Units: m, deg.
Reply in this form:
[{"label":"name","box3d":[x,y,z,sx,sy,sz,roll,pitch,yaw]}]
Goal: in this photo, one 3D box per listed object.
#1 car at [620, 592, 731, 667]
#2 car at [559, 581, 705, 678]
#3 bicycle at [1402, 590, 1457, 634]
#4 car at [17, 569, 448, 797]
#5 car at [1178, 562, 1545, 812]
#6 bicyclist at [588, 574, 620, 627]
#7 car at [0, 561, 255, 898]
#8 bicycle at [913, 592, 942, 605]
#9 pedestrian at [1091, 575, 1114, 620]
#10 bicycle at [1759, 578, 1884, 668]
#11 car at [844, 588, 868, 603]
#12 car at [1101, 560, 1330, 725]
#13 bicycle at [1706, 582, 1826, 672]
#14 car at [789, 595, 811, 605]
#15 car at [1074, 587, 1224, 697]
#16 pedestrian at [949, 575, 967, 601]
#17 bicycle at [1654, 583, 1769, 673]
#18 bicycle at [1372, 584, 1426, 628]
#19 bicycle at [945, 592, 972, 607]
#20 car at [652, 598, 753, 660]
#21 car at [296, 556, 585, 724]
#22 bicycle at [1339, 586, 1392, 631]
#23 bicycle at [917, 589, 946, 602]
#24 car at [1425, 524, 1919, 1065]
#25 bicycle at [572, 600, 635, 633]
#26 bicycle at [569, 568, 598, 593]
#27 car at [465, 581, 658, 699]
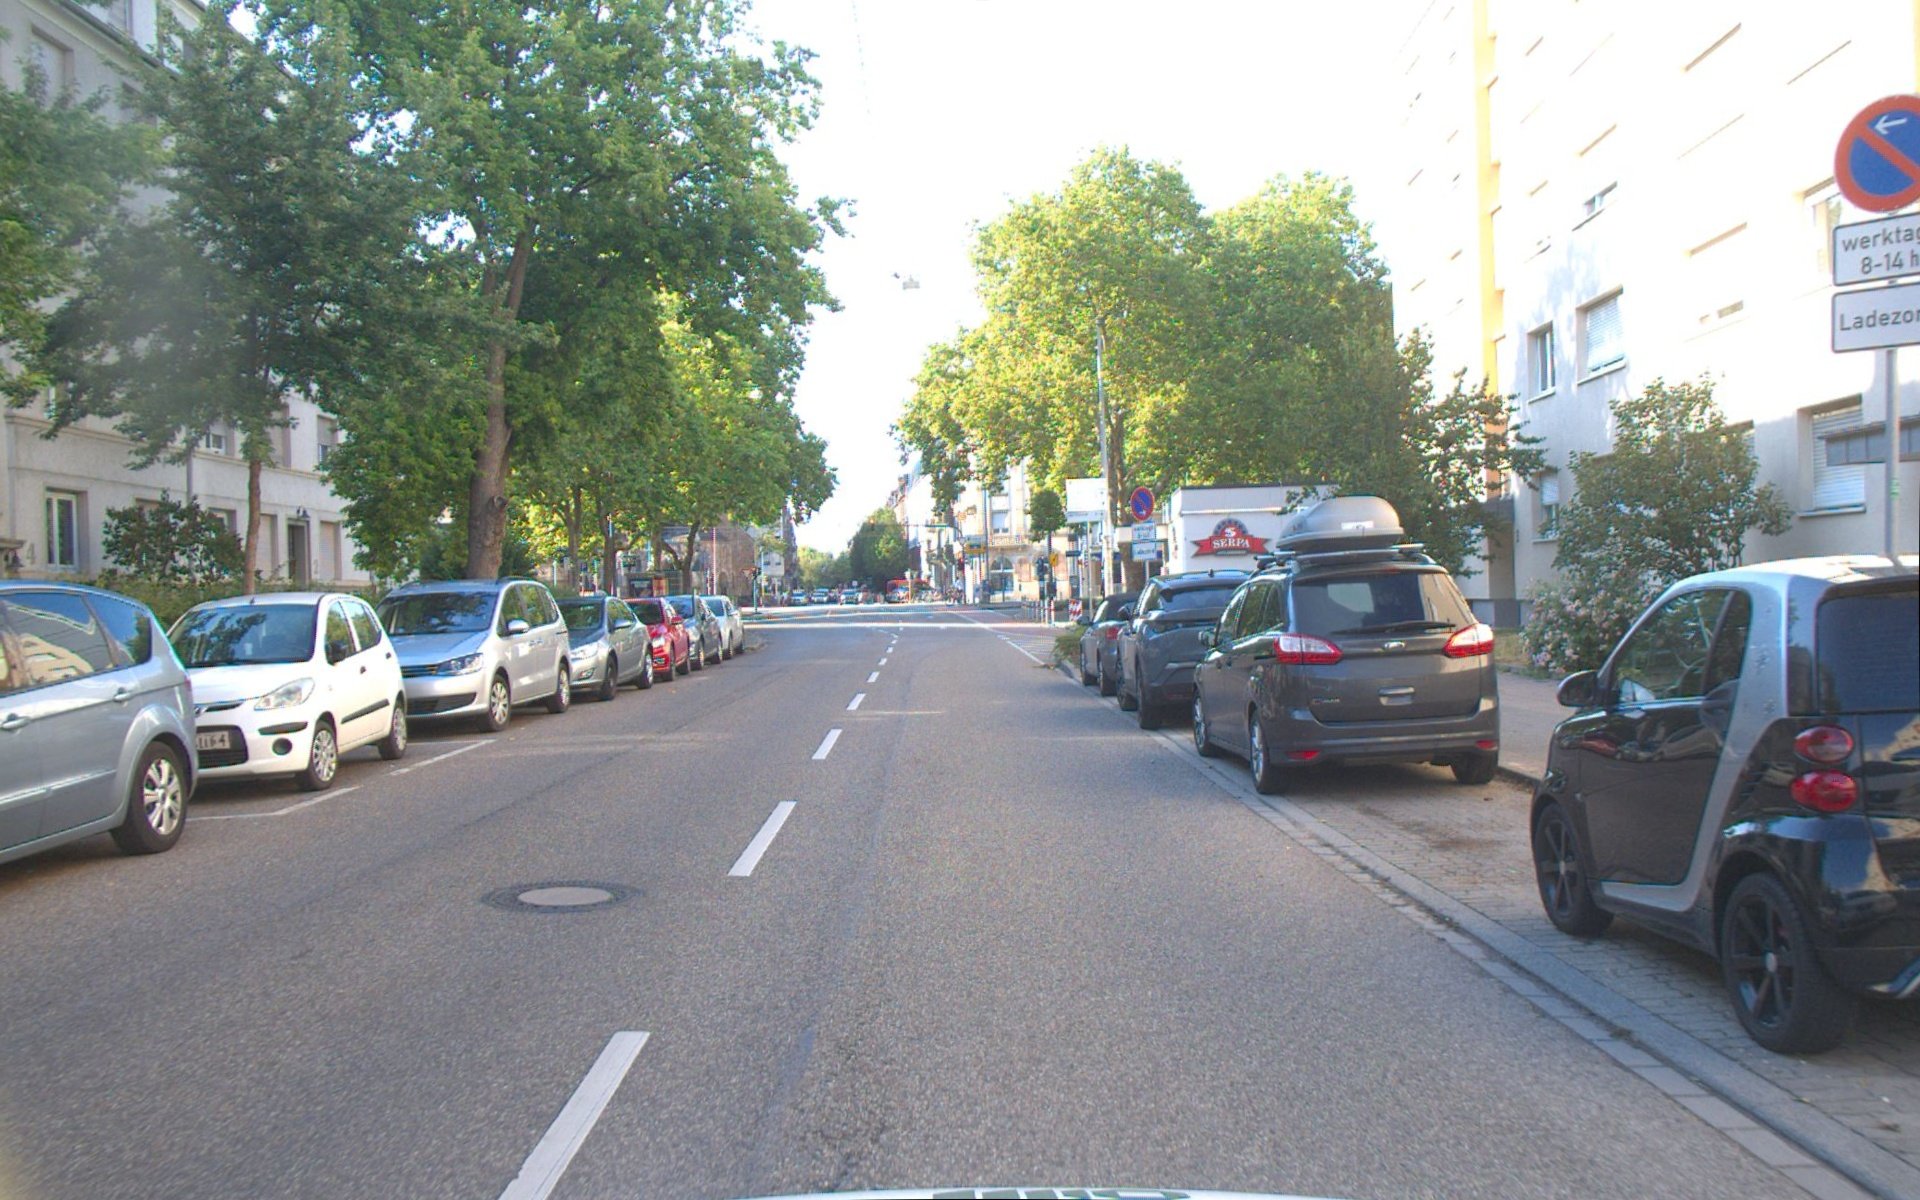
[{"label":"car","box3d":[-5.888,0.612,34.616,1.669,1.465,4.128,0,-1,-1]},{"label":"car","box3d":[-5.719,0.514,29.311,1.833,1.586,3.999,0,-1,-1]},{"label":"bicycle","box3d":[10.949,0.257,38.648,0.623,0.941,2.230,0,2,-1]},{"label":"car","box3d":[-5.790,0.609,13.773,1.833,1.586,4.100,-1,-1,-1]},{"label":"car","box3d":[3.061,0.581,13.590,1.859,1.680,4.342,-1,0,-1]},{"label":"bicyclist","box3d":[-14.095,0.029,65.447,0.957,2.049,0.795,0,-1,34]},{"label":"car","box3d":[-5.479,0.694,8.095,1.834,1.585,5.056,-6,1,-1]},{"label":"bicycle","box3d":[-3.086,-0.150,157.050,2.750,1.225,0.509,0,-1,-8]},{"label":"pedestrian","box3d":[6.729,-0.106,78.292,0.810,2.048,1.152,-5,-1,-1]},{"label":"bicycle","box3d":[10.441,0.278,20.102,0.599,1.039,1.833,0,-1,1]},{"label":"car","box3d":[-10.423,-0.446,165.948,1.553,1.488,3.186,0,-1,13]},{"label":"car","box3d":[2.834,0.461,19.370,1.888,1.688,4.676,0,-1,-1]},{"label":"bicycle","box3d":[9.754,0.322,20.075,0.599,1.039,1.833,0,-1,1]},{"label":"car","box3d":[-18.545,0.021,191.774,1.560,1.164,3.386,0,-1,14]},{"label":"car","box3d":[2.729,0.600,24.634,1.705,1.499,3.999,0,-1,-1]},{"label":"pedestrian","box3d":[-0.135,-0.818,111.212,0.972,1.738,0.627,0,-1,27]},{"label":"bicycle","box3d":[9.093,0.340,20.086,0.599,1.039,1.833,0,-1,1]},{"label":"bicycle","box3d":[10.226,0.122,38.610,0.623,0.941,2.230,0,2,-1]},{"label":"bicycle","box3d":[-0.099,-0.034,111.203,1.749,0.999,0.656,0,-1,27]},{"label":"car","box3d":[-6.040,0.679,39.326,1.733,1.376,4.709,0,-1,-1]},{"label":"car","box3d":[-5.854,0.437,19.348,1.877,1.707,4.972,0,-1,-1]},{"label":"bicycle","box3d":[9.356,0.185,38.234,0.623,0.941,2.230,0,2,-1]},{"label":"bicycle","box3d":[-2.781,-0.415,158.788,2.750,1.225,0.516,0,-1,-8]},{"label":"car","box3d":[3.298,0.557,6.712,1.573,1.520,4.040,-1,-1,-1]},{"label":"bicycle","box3d":[-14.086,0.641,65.452,0.990,1.286,2.476,0,-1,33]},{"label":"bicycle","box3d":[-18.175,-0.933,79.976,0.703,1.165,3.291,0,-1,-1]},{"label":"car","box3d":[-5.774,0.560,24.543,1.833,1.586,4.496,0,-1,-1]}]
